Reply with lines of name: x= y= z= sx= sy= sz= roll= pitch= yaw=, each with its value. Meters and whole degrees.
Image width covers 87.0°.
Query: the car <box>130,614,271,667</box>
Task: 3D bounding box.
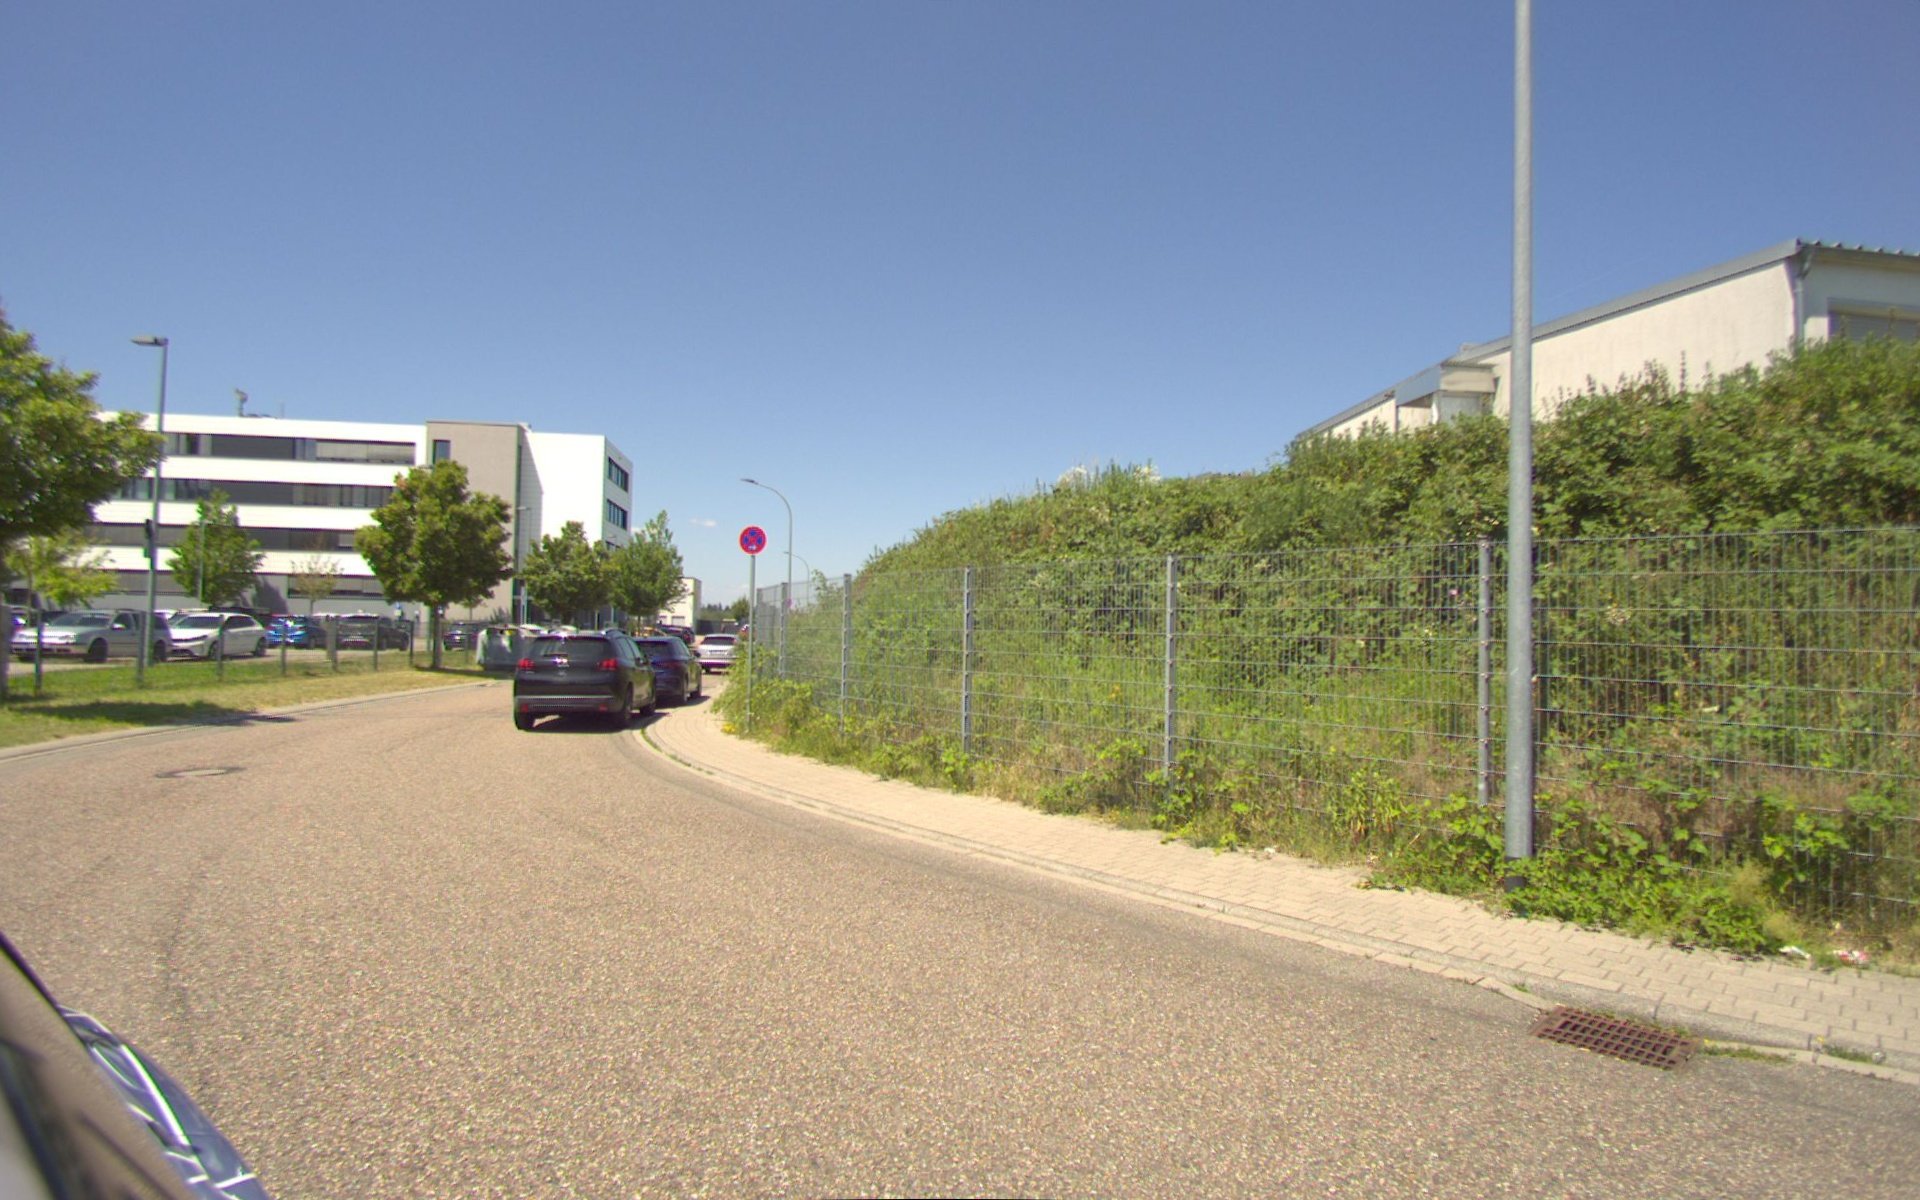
car: x=-23.897 y=1.227 z=32.032 sx=1.826 sy=1.510 sz=3.931 roll=1 pitch=0 yaw=-7

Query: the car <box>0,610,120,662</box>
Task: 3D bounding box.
car: x=-28.511 y=1.136 z=31.435 sx=1.826 sy=1.510 sz=3.931 roll=2 pitch=-3 yaw=-8

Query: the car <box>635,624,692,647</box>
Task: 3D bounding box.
car: x=-22.365 y=2.649 z=76.389 sx=3.936 sy=1.653 sz=1.894 roll=-1 pitch=-2 yaw=-8

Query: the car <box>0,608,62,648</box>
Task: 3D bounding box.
car: x=-43.192 y=1.273 z=45.810 sx=1.804 sy=1.549 sz=3.929 roll=-1 pitch=-5 yaw=-6

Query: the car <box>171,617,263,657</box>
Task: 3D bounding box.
car: x=-35.727 y=1.817 z=48.783 sx=1.804 sy=1.657 sz=3.929 roll=-1 pitch=-5 yaw=-6

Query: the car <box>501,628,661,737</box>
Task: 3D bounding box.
car: x=-6.155 y=1.307 z=16.891 sx=1.633 sy=1.567 sz=4.140 roll=2 pitch=-3 yaw=-9

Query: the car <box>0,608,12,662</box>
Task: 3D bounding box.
car: x=-27.573 y=0.887 z=26.617 sx=1.826 sy=1.510 sz=3.930 roll=1 pitch=-3 yaw=-7

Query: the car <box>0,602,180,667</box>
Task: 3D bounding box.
car: x=-22.915 y=0.968 z=26.713 sx=1.825 sy=1.510 sz=4.297 roll=1 pitch=-5 yaw=-10

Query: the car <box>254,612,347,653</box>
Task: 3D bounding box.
car: x=-27.866 y=1.429 z=42.915 sx=1.803 sy=1.466 sz=3.931 roll=-1 pitch=-5 yaw=-8

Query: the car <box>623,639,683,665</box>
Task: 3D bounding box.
car: x=-22.284 y=3.752 z=73.542 sx=3.936 sy=1.716 sz=1.894 roll=-1 pitch=-2 yaw=-8

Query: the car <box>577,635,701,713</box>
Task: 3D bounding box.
car: x=-6.806 y=1.542 z=21.892 sx=1.910 sy=1.466 sz=4.290 roll=2 pitch=-3 yaw=-9

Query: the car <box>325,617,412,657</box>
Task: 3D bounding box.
car: x=-25.324 y=1.607 z=43.492 sx=1.803 sy=1.586 sz=3.931 roll=2 pitch=-3 yaw=-8

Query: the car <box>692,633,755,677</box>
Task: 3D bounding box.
car: x=-9.022 y=2.103 z=38.920 sx=1.826 sy=1.531 sz=3.952 roll=2 pitch=-3 yaw=-6

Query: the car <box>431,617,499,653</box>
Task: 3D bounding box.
car: x=-23.643 y=1.711 z=48.483 sx=1.803 sy=1.466 sz=3.931 roll=-1 pitch=-5 yaw=-8
